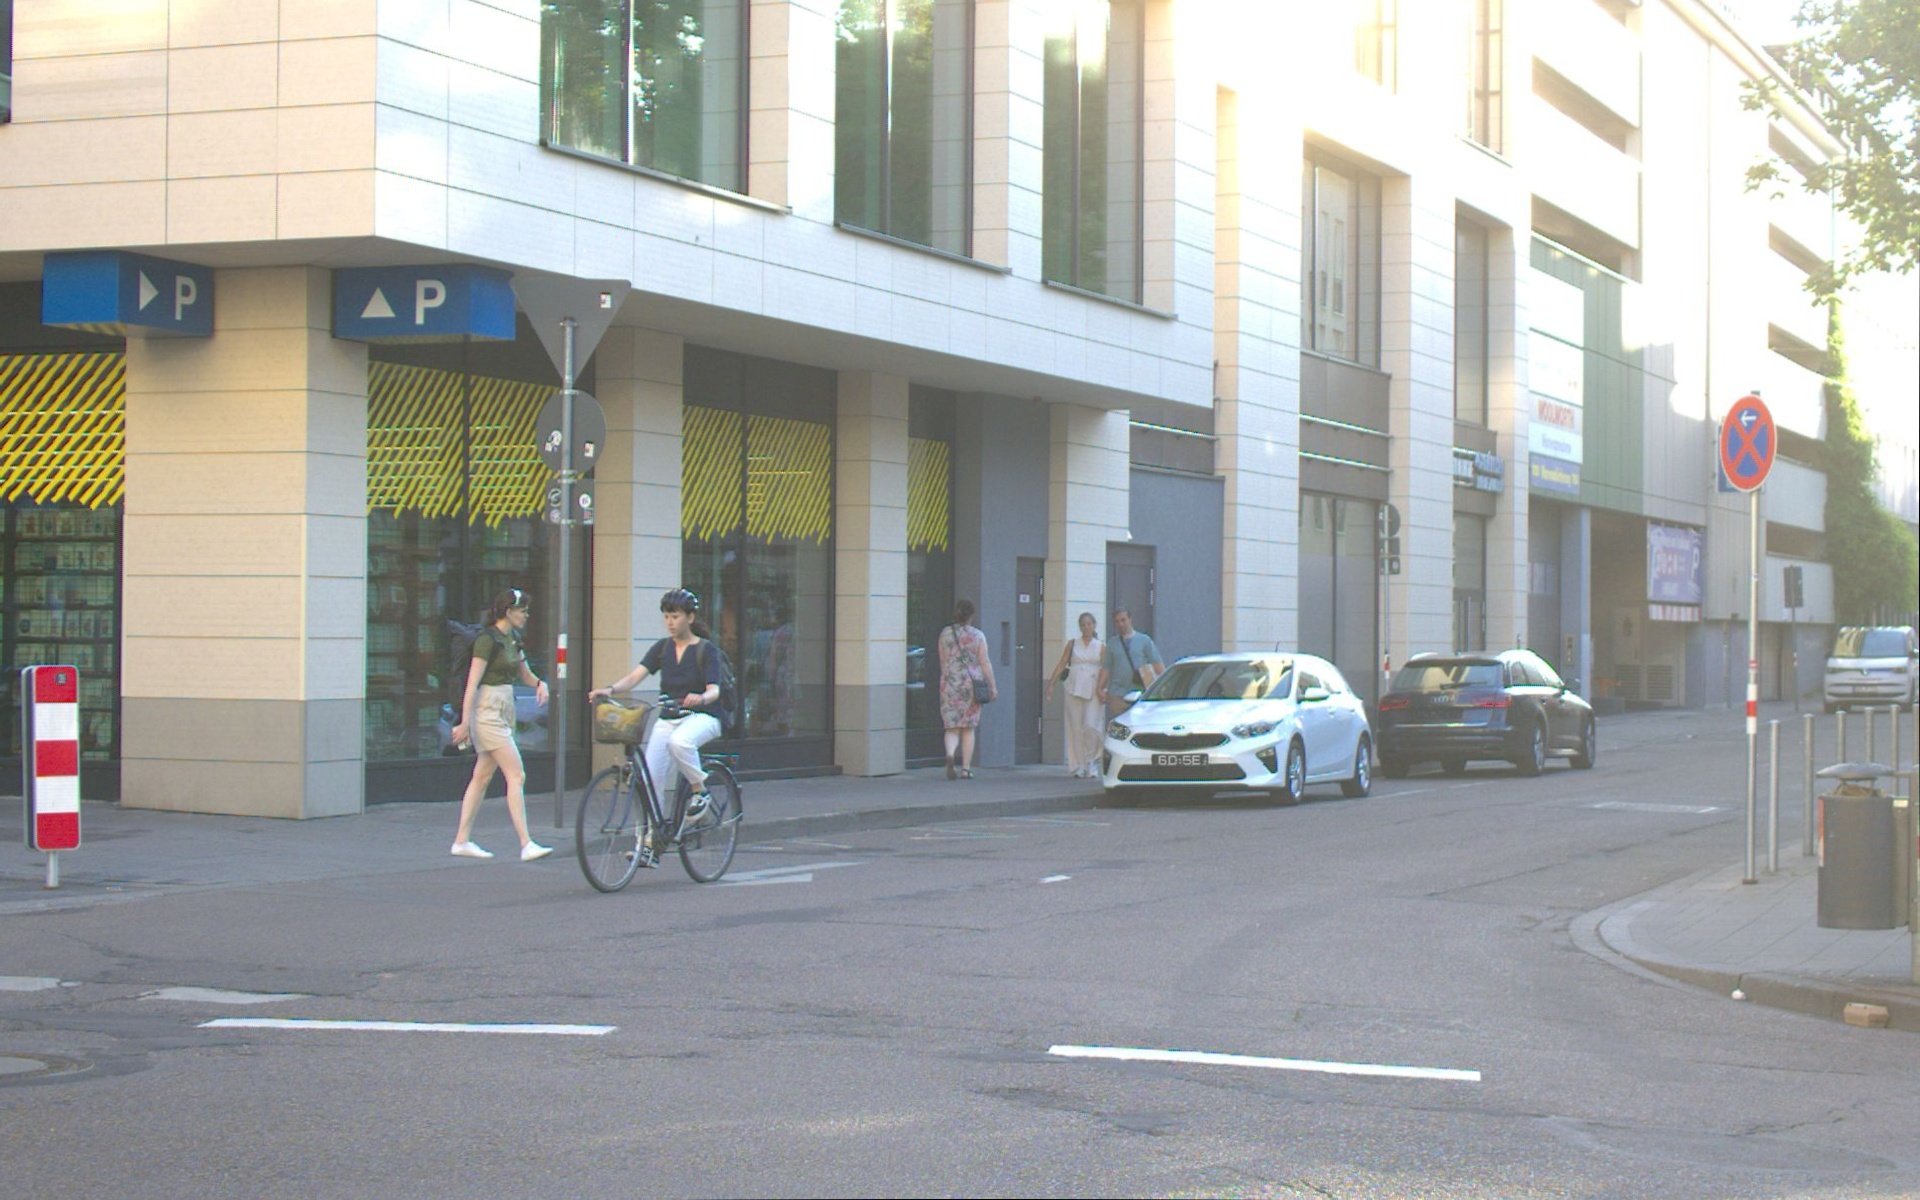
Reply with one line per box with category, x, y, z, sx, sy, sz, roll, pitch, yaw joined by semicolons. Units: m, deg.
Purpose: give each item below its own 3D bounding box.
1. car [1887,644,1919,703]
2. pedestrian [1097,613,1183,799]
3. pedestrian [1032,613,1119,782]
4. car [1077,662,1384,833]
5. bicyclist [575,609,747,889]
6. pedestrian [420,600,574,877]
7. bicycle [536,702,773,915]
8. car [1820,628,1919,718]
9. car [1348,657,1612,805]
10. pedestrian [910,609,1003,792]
car;24.712;1.854;87.247;1.885;1.448;3.996;1;0;21
pedestrian;1.812;1.057;34.547;0.672;1.830;0.647;1;0;20
pedestrian;1.171;0.980;34.785;0.672;1.669;0.647;1;0;20
car;2.646;1.343;32.670;1.779;1.448;4.226;1;0;21
bicyclist;-1.720;0.848;19.882;0.659;1.565;0.862;1;-1;18
pedestrian;-2.953;0.868;21.900;0.635;1.717;0.845;1;0;-33
bicycle;-1.734;1.172;19.835;0.664;1.134;1.820;1;-1;18
car;20.419;1.598;76.612;1.885;1.905;4.743;1;0;20
car;6.264;1.505;40.974;1.886;1.592;4.683;1;0;24
pedestrian;-0.036;0.965;33.271;0.672;1.738;0.646;1;-1;22
